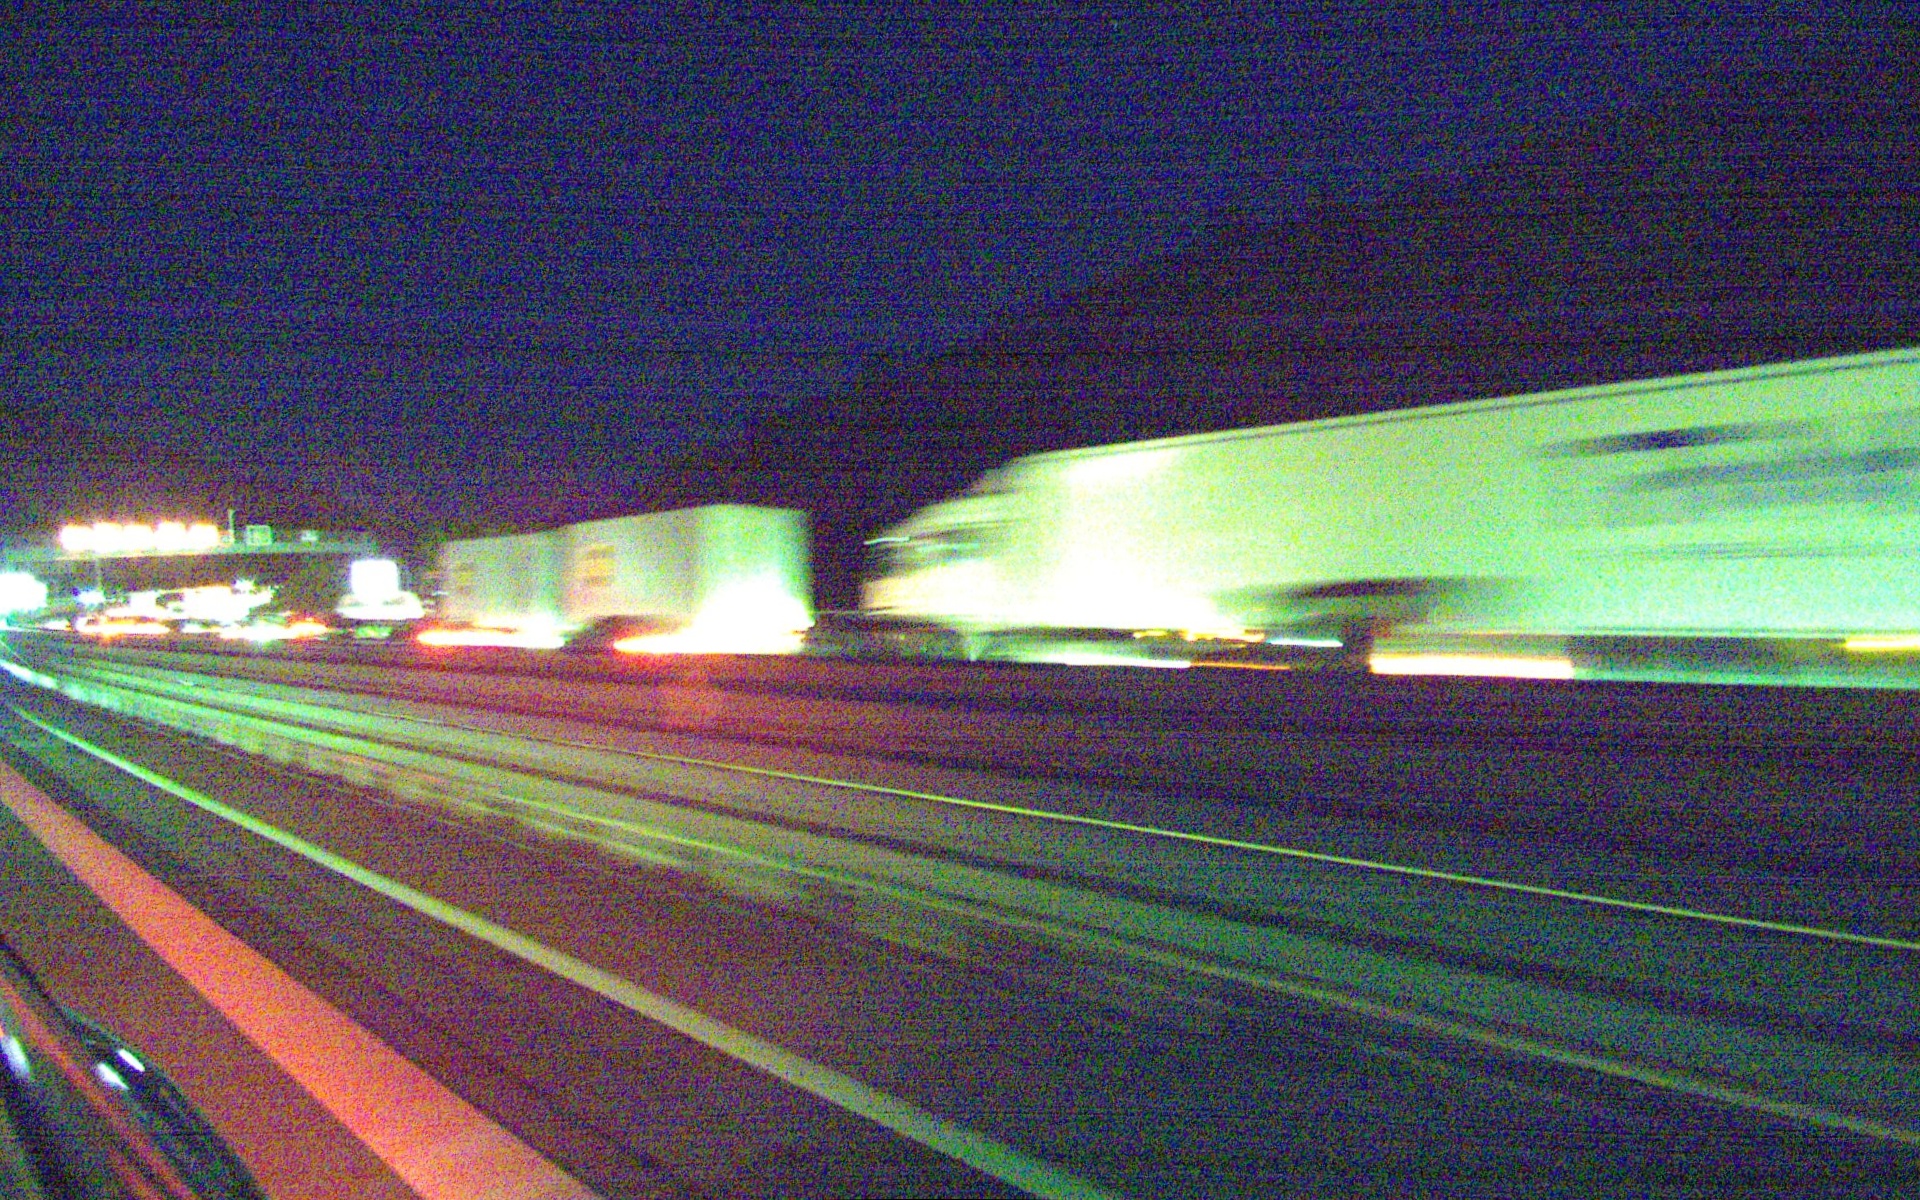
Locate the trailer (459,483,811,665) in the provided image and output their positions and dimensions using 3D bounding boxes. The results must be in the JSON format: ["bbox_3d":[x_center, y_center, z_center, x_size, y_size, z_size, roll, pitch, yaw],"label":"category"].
[{"bbox_3d":[-10.094,-0.491,29.386,14.520,4.215,2.845,-1,0,42],"label":"trailer"}]

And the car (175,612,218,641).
[{"bbox_3d":[-40.067,1.364,53.090,1.677,1.474,3.488,-1,0,-39],"label":"car"}]

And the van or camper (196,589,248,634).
[{"bbox_3d":[-51.977,0.810,71.220,2.195,3.026,7.132,-1,0,-42],"label":"van or camper"}]

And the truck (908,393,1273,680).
[{"bbox_3d":[2.180,-0.861,18.049,5.953,4.302,2.589,-1,-4,41],"label":"truck"}]

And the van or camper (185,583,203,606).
[{"bbox_3d":[-120.150,-0.901,158.698,2.239,3.404,5.708,0,1,-37],"label":"van or camper"}]

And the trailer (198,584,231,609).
[{"bbox_3d":[-136.287,-0.680,185.251,3.388,4.273,12.872,0,1,-30],"label":"trailer"}]

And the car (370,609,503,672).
[{"bbox_3d":[-14.313,1.035,27.539,1.882,1.503,4.871,-1,0,-44],"label":"car"}]

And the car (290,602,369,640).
[{"bbox_3d":[-29.810,0.952,47.772,5.078,1.689,1.865,-1,0,42],"label":"car"}]

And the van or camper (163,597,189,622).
[{"bbox_3d":[-95.284,1.114,122.991,2.414,2.781,6.502,0,1,-39],"label":"van or camper"}]

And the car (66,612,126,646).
[{"bbox_3d":[-41.418,1.333,48.472,1.882,1.503,4.871,-1,0,-44],"label":"car"}]

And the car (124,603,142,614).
[{"bbox_3d":[-121.323,1.252,148.495,1.795,1.462,4.515,0,1,-37],"label":"car"}]

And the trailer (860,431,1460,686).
[{"bbox_3d":[3.394,-0.593,22.122,13.278,4.203,2.809,-1,-2,41],"label":"trailer"}]

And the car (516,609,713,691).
[{"bbox_3d":[-7.551,0.977,21.782,5.262,1.503,1.882,0,0,45],"label":"car"}]

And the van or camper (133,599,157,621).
[{"bbox_3d":[-100.011,1.233,124.277,2.226,2.614,6.700,1,0,-38],"label":"van or camper"}]

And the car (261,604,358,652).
[{"bbox_3d":[-22.634,0.912,35.127,1.882,1.503,4.940,-1,0,-44],"label":"car"}]

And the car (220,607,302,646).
[{"bbox_3d":[-30.101,1.116,43.516,4.347,1.535,1.878,1,-1,41],"label":"car"}]

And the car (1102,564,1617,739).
[{"bbox_3d":[4.110,0.440,10.994,4.866,1.503,1.884,0,0,42],"label":"car"}]

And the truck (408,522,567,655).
[{"bbox_3d":[-16.556,-0.354,35.293,6.104,4.242,2.835,-1,0,41],"label":"truck"}]

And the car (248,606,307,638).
[{"bbox_3d":[-39.515,1.234,58.562,4.738,1.666,1.905,1,1,44],"label":"car"}]

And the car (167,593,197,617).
[{"bbox_3d":[-77.796,0.504,101.133,2.105,2.284,4.570,1,0,-41],"label":"car"}]

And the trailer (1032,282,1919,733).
[{"bbox_3d":[7.636,-0.879,13.598,14.512,4.498,2.810,-1,-1,40],"label":"trailer"}]

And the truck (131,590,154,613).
[{"bbox_3d":[-132.322,0.257,163.835,2.620,3.618,8.568,0,-1,-37],"label":"truck"}]

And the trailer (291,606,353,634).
[{"bbox_3d":[-42.029,1.267,66.600,2.230,1.739,6.549,0,0,-44],"label":"trailer"}]

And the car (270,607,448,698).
[{"bbox_3d":[-11.762,0.916,19.643,1.882,1.503,4.871,-1,0,-44],"label":"car"}]

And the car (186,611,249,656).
[{"bbox_3d":[-36.134,1.599,49.237,4.113,1.864,1.658,1,5,43],"label":"car"}]

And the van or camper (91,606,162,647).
[{"bbox_3d":[-32.191,0.981,39.048,1.719,1.476,4.871,-1,0,-44],"label":"van or camper"}]

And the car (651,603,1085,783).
[{"bbox_3d":[-1.198,0.809,10.948,4.866,1.503,1.883,0,0,42],"label":"car"}]

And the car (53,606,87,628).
[{"bbox_3d":[-53.582,1.028,60.922,1.401,1.266,3.132,-1,0,-43],"label":"car"}]

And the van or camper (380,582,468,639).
[{"bbox_3d":[-27.076,0.541,51.029,6.619,2.676,1.971,-1,0,44],"label":"van or camper"}]

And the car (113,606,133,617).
[{"bbox_3d":[-114.559,1.567,138.513,1.810,1.462,4.515,0,-1,-37],"label":"car"}]

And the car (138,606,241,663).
[{"bbox_3d":[-22.656,0.933,29.681,1.881,1.503,4.872,-1,0,-44],"label":"car"}]

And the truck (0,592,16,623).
[{"bbox_3d":[-129.729,1.002,136.680,2.857,4.001,4.007,-3,2,-40],"label":"truck"}]

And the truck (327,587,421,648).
[{"bbox_3d":[-25.184,0.715,43.424,5.048,2.477,1.973,-1,0,41],"label":"truck"}]

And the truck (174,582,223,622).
[{"bbox_3d":[-64.523,0.148,85.650,2.348,3.284,7.729,1,0,-44],"label":"truck"}]
